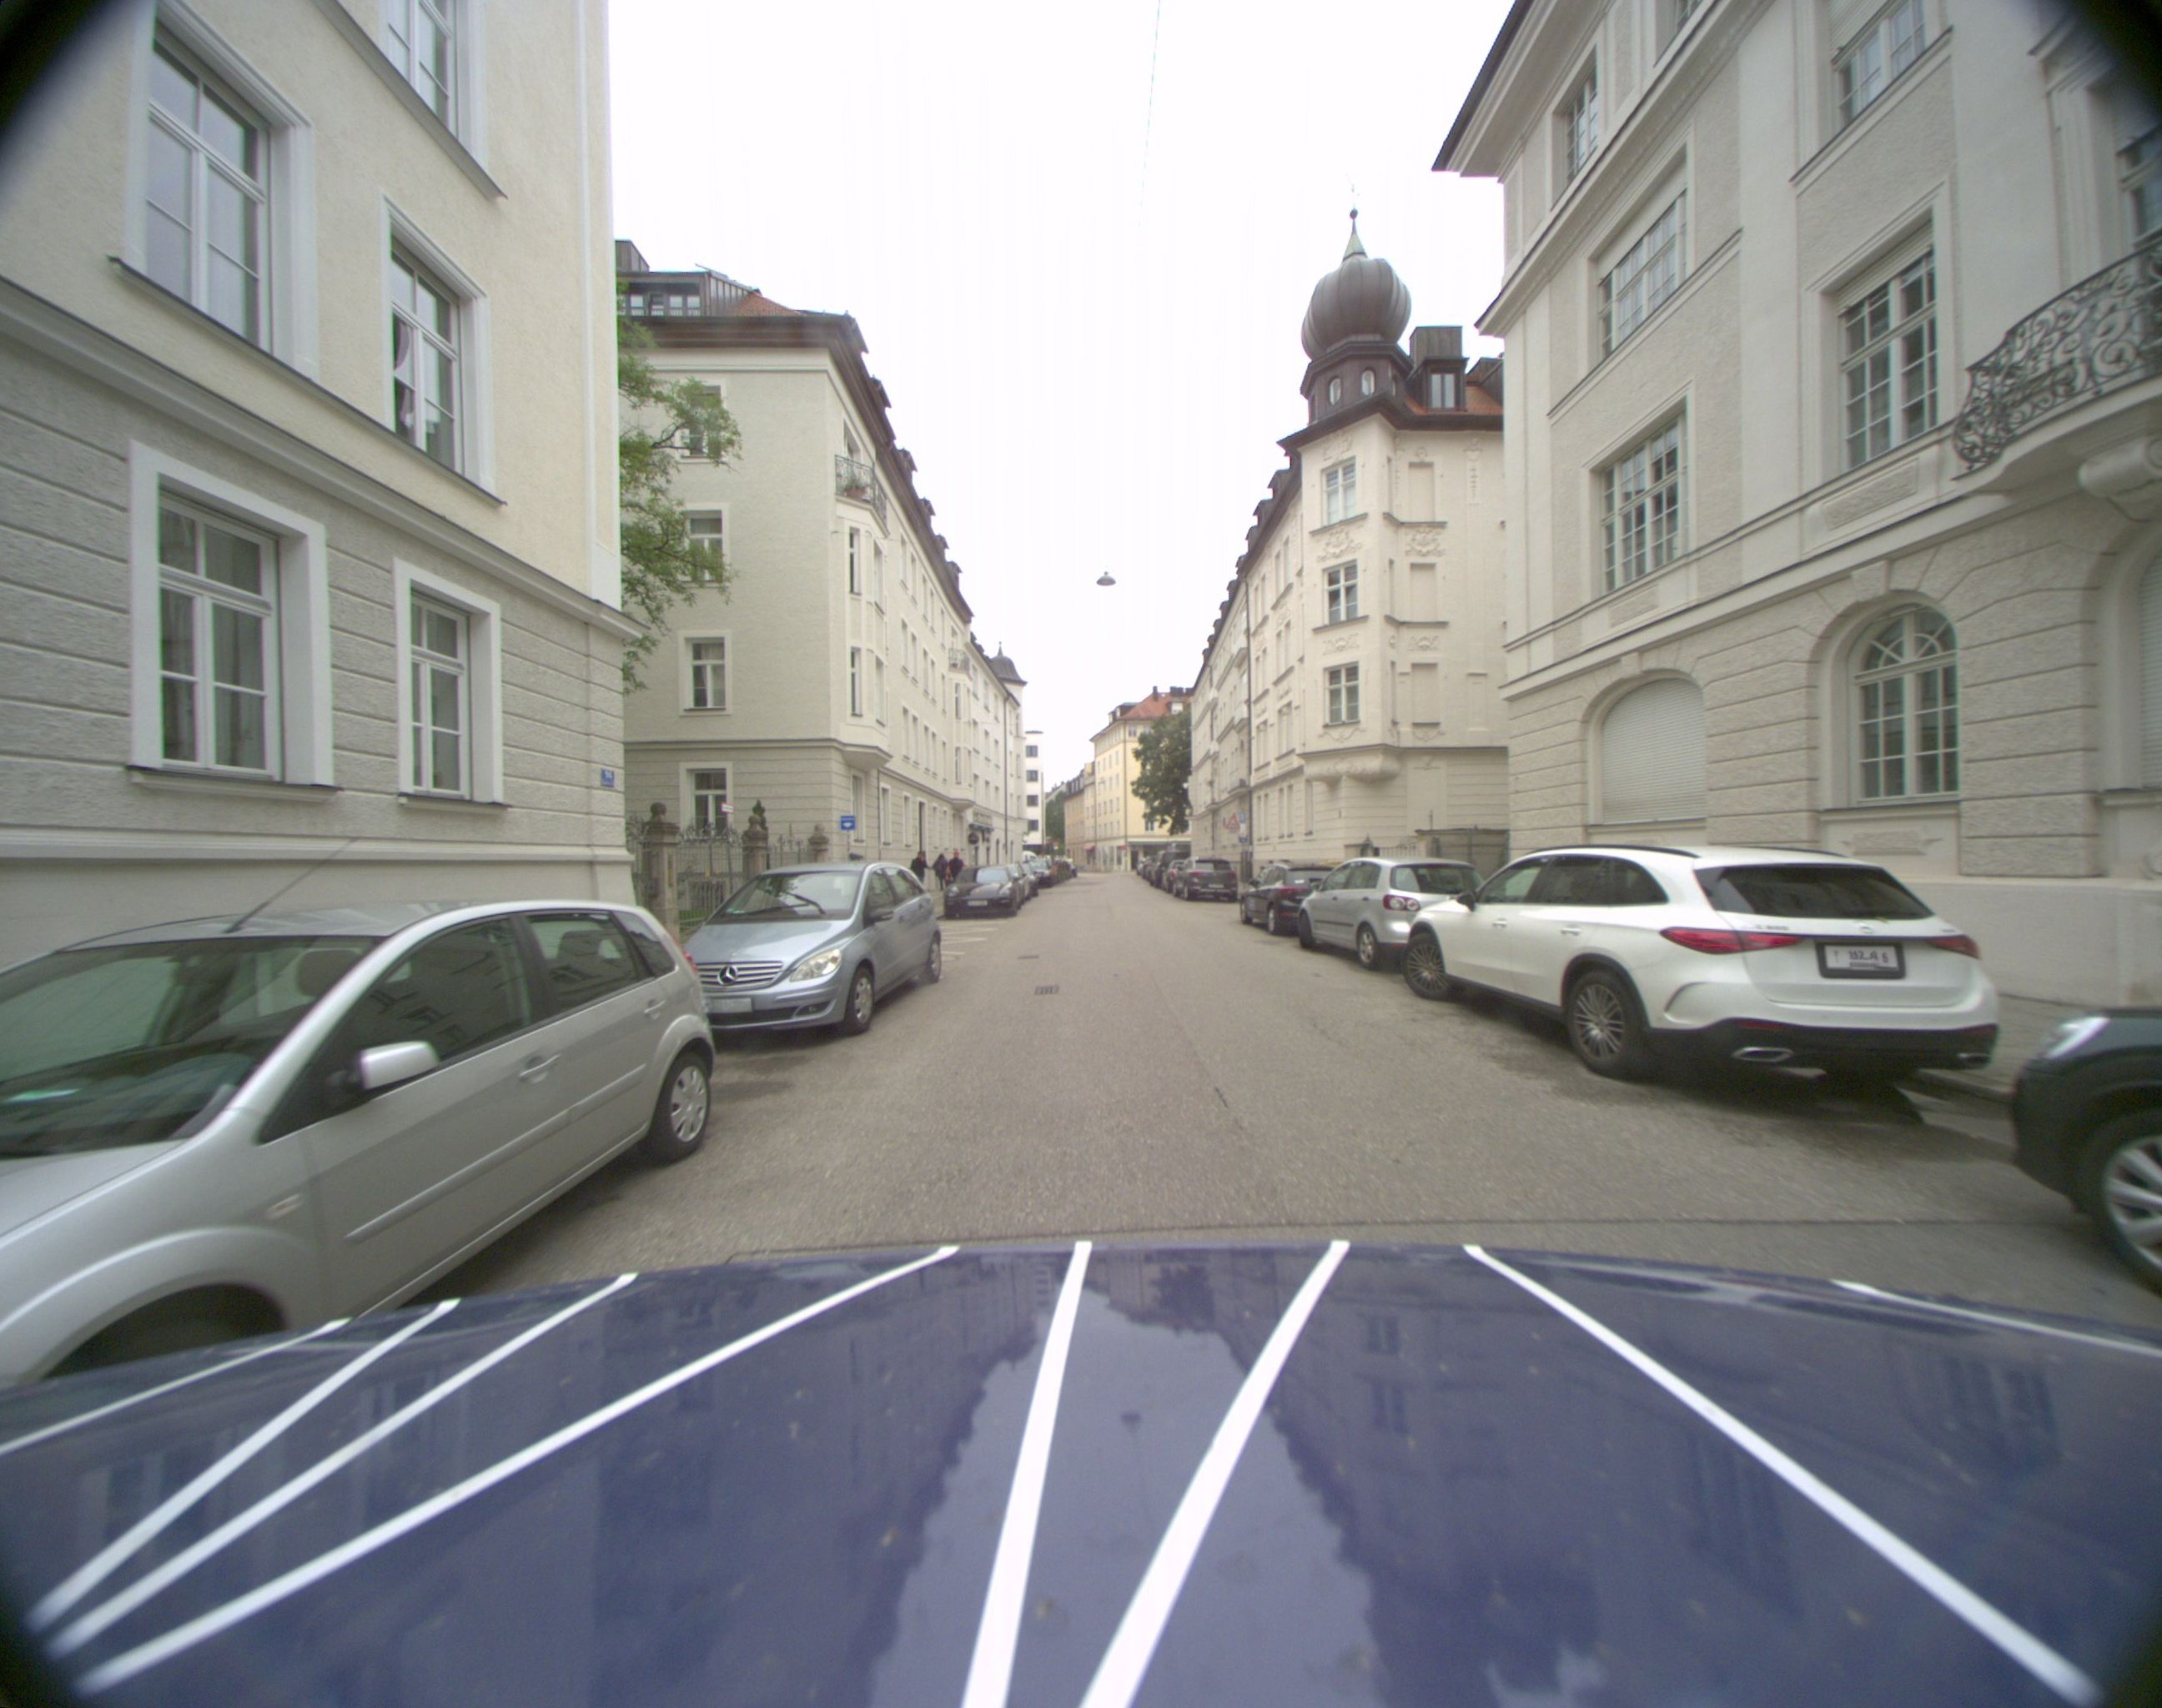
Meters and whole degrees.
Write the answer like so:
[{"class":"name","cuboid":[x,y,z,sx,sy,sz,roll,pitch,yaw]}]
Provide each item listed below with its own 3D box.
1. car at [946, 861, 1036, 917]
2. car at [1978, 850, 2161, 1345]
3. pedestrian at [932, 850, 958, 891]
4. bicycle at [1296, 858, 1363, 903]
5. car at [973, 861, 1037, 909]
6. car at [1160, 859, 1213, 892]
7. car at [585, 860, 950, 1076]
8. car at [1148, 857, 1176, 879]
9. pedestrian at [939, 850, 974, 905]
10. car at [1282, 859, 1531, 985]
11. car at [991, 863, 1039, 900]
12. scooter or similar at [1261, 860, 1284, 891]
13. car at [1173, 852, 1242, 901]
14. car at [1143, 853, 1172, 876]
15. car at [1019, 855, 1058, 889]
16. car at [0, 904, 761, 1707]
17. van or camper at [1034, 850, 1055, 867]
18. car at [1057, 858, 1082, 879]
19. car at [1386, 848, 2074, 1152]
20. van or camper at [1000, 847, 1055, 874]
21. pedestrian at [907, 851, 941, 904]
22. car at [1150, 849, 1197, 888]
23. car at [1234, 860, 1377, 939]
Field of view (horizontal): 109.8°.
[{"class":"car","cuboid":[-2.598,0.971,23.012,1.998,1.449,4.713,-2,0,1]},{"class":"car","cuboid":[4.450,0.774,0.857,1.841,1.609,4.244,-1,0,0]},{"class":"pedestrian","cuboid":[-6.318,0.760,35.300,0.885,1.803,1.111,3,0,1]},{"class":"bicycle","cuboid":[7.730,0.792,23.780,1.154,1.235,2.716,-5,0,1]},{"class":"car","cuboid":[-2.688,1.055,27.815,1.765,1.477,4.421,-4,0,1]},{"class":"car","cuboid":[4.599,0.910,33.734,1.841,1.386,4.245,1,0,1]},{"class":"car","cuboid":[-2.836,0.912,8.126,1.826,1.560,4.401,-4,0,2]},{"class":"car","cuboid":[5.351,0.916,50.353,1.658,1.399,4.093,0,0,3]},{"class":"pedestrian","cuboid":[-4.240,0.788,26.027,0.885,1.801,1.111,1,0,7]},{"class":"car","cuboid":[4.659,0.874,11.666,1.787,1.532,4.256,1,0,-3]},{"class":"car","cuboid":[-2.814,1.130,33.384,1.841,1.391,4.973,-3,0,-3]},{"class":"scooter or similar","cuboid":[7.812,0.871,30.998,0.533,1.193,1.548,-1,0,1]},{"class":"car","cuboid":[4.490,0.754,27.597,1.731,1.609,4.120,1,0,-1]},{"class":"car","cuboid":[5.556,0.723,55.540,1.880,1.590,4.435,-1,0,3]},{"class":"car","cuboid":[-2.318,0.967,42.461,1.804,1.665,4.189,-4,0,0]},{"class":"car","cuboid":[-2.876,1.042,2.913,1.758,1.398,3.451,-2,0,0]},{"class":"van or camper","cuboid":[-5.305,0.675,110.775,1.968,2.494,5.717,-1,0,-14]},{"class":"car","cuboid":[-1.000,1.236,65.992,1.841,1.609,4.095,-4,0,2]},{"class":"car","cuboid":[4.430,0.807,6.402,1.920,1.609,4.571,-1,0,1]},{"class":"van or camper","cuboid":[-5.832,0.721,82.943,5.869,2.697,2.304,-1,-2,-6]},{"class":"pedestrian","cuboid":[-5.422,0.801,26.257,0.885,1.776,1.111,1,1,2]},{"class":"car","cuboid":[4.702,0.724,39.104,1.841,1.883,4.763,1,0,0]},{"class":"car","cuboid":[4.627,0.867,16.361,1.797,1.407,4.278,1,0,0]}]
